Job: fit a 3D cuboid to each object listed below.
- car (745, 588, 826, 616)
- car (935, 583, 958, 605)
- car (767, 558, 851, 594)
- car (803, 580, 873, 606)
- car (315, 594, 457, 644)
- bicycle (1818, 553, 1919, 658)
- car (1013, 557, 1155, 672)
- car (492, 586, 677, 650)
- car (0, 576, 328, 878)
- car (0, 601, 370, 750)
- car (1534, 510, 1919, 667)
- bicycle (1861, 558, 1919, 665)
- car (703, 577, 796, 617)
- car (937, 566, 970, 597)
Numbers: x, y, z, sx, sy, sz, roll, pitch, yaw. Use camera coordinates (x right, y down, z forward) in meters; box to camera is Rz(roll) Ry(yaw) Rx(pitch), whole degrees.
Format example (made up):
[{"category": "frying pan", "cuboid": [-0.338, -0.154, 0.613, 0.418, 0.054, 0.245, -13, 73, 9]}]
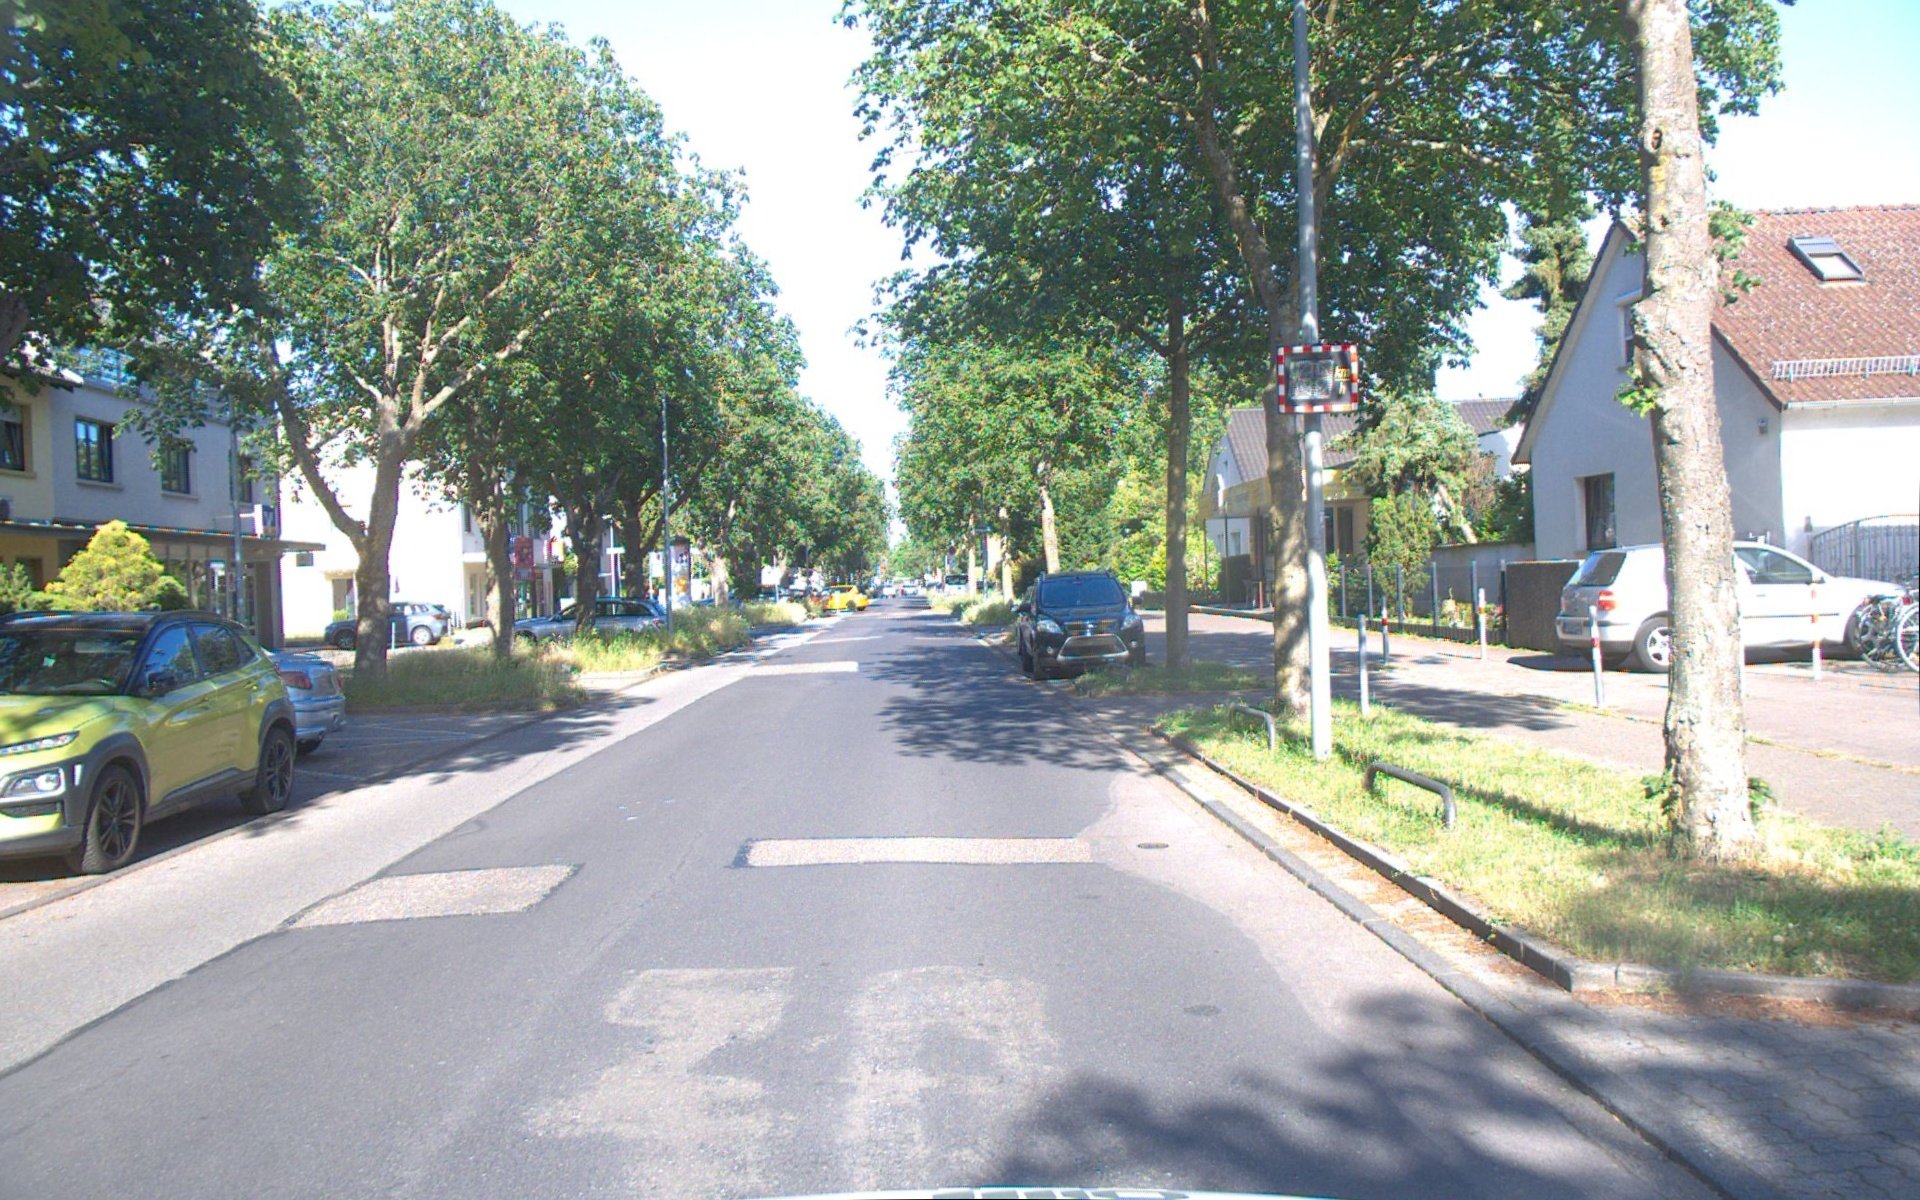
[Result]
[{"category": "car", "cuboid": [-9.221, 0.092, 87.483, 4.205, 1.338, 1.907, -1, 2, -7]}, {"category": "car", "cuboid": [-1.123, -0.537, 138.818, 1.864, 1.805, 4.300, -1, 0, -1]}, {"category": "car", "cuboid": [-9.947, -1.596, 109.239, 5.389, 2.286, 2.515, -1, 2, -4]}, {"category": "car", "cuboid": [-7.321, -0.430, 99.549, 3.793, 1.504, 1.895, 0, 0, 17]}, {"category": "car", "cuboid": [-20.807, 0.684, 60.101, 4.466, 1.646, 1.998, -1, 2, -6]}, {"category": "bicycle", "cuboid": [10.218, 0.023, 17.587, 1.885, 1.015, 0.576, -4, 2, -4]}, {"category": "car", "cuboid": [1.985, 0.226, 27.794, 1.816, 1.654, 4.468, -4, 0, -2]}, {"category": "car", "cuboid": [-9.884, 0.463, 43.793, 4.463, 1.537, 1.841, -1, 2, -2]}, {"category": "car", "cuboid": [-6.037, 0.712, 11.158, 1.899, 1.637, 4.383, -1, 0, -1]}, {"category": "car", "cuboid": [-8.067, 0.723, 16.596, 3.689, 1.324, 1.611, -1, 2, -3]}, {"category": "car", "cuboid": [9.149, -0.172, 19.664, 3.908, 1.514, 1.901, -4, 2, -3]}, {"category": "bicycle", "cuboid": [10.156, 0.063, 16.595, 1.919, 1.015, 0.576, -4, 2, -4]}, {"category": "car", "cuboid": [-10.340, -0.162, 81.346, 4.459, 1.796, 1.998, -1, 2, -7]}, {"category": "car", "cuboid": [-0.417, -1.113, 100.571, 1.864, 1.805, 4.300, -1, 0, -1]}]
